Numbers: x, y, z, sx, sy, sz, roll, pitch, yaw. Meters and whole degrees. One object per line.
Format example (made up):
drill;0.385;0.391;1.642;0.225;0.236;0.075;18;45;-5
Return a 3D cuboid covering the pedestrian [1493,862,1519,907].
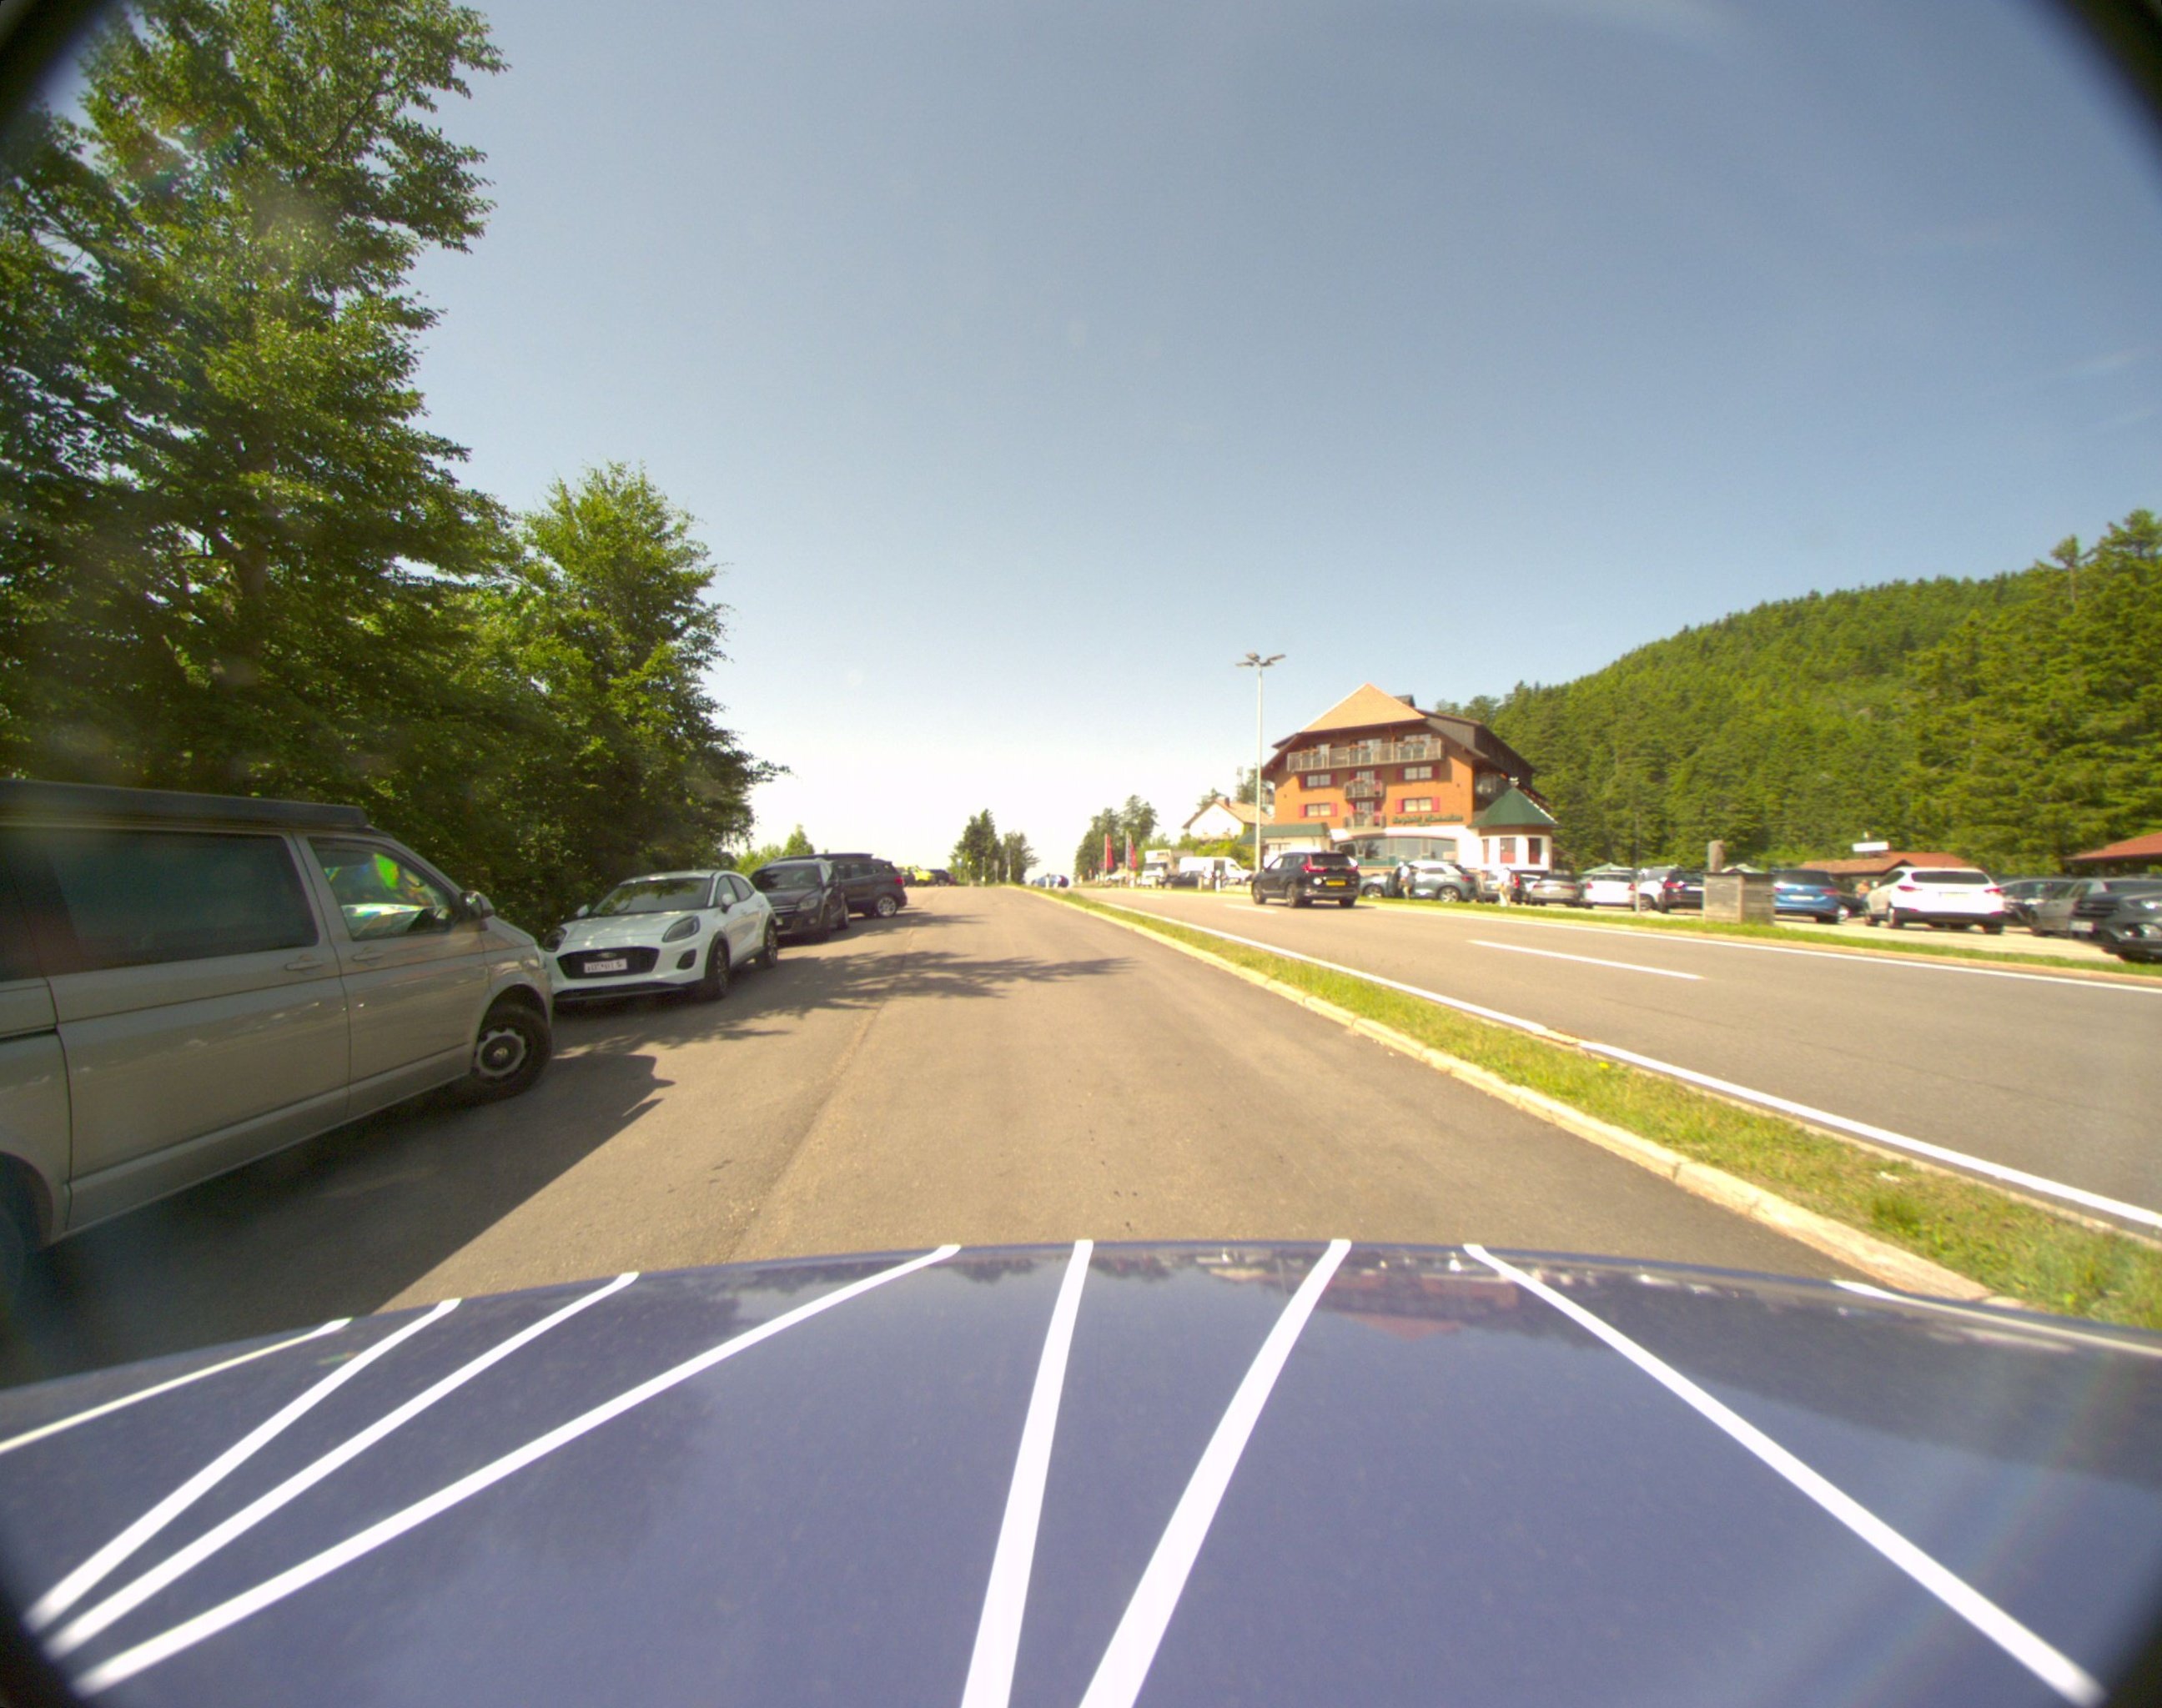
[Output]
pedestrian;15.696;1.111;28.089;0.744;1.615;0.684;0;0;21

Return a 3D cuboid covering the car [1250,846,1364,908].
car;6.642;0.631;22.806;1.722;1.672;4.127;0;0;-8

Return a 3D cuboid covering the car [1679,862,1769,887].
car;46.818;1.458;55.494;4.832;1.705;1.925;0;0;35

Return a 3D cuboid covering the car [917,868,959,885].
car;-14.308;2.258;76.136;3.912;1.605;1.875;0;0;-6

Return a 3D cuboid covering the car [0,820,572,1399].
car;-4.657;0.909;3.411;1.862;1.924;4.607;-4;0;-5

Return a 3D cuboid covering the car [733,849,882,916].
car;-9.285;0.919;25.868;4.466;1.914;1.872;-3;0;-28

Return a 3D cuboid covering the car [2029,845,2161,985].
car;14.759;0.742;8.710;4.539;1.646;1.726;0;0;33

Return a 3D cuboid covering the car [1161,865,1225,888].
car;8.000;1.577;54.246;4.083;1.518;1.828;0;0;30

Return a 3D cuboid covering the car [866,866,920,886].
car;-14.938;1.739;60.460;3.912;1.605;1.875;0;0;-6

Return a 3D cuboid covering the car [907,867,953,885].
car;-13.766;1.985;69.489;3.912;1.605;1.875;0;0;-6

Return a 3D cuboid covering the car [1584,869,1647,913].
car;20.413;1.352;28.977;1.819;1.504;4.104;1;0;37

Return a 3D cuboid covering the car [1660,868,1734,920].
car;21.080;1.299;26.132;1.819;1.619;4.104;1;0;37

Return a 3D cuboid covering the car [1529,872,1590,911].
car;20.460;1.535;32.422;1.819;1.504;4.104;1;0;37

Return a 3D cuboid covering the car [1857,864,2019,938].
car;22.193;1.125;19.885;1.915;1.705;4.104;1;0;35

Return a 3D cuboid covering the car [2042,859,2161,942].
car;23.526;0.976;15.747;4.083;1.705;1.925;0;0;35

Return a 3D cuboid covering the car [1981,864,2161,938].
car;25.776;1.142;18.841;4.083;1.705;1.925;0;0;35

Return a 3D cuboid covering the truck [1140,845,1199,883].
truck;9.516;1.110;80.994;2.877;3.798;9.035;-2;-1;29

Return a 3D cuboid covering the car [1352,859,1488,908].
car;12.357;1.036;27.772;4.259;1.619;1.828;0;0;34

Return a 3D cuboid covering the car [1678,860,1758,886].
car;43.955;1.308;52.518;4.083;1.705;1.925;0;0;35

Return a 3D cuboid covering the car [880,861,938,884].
car;-14.275;1.529;63.300;4.459;1.914;1.875;0;0;-6

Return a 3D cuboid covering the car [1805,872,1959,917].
car;33.563;1.639;32.014;4.083;1.705;1.924;0;0;32

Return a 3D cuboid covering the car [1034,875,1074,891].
car;-2.845;3.004;79.731;3.902;1.605;1.880;0;0;35

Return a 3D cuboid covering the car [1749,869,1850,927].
car;22.260;1.287;23.692;1.819;1.619;4.104;1;0;37

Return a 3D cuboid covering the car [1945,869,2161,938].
car;27.250;1.299;20.988;4.083;1.705;1.924;0;0;32

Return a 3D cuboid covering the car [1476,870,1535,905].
car;19.646;1.497;35.110;1.819;1.504;4.104;1;0;37

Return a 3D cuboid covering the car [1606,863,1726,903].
car;25.771;1.227;33.661;4.083;1.619;1.828;0;0;34

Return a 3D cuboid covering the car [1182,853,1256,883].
car;13.481;1.353;74.169;6.954;2.774;2.669;0;0;10

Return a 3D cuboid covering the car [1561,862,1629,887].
car;37.723;1.499;55.810;4.083;1.705;1.925;0;0;35

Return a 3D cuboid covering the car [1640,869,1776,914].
car;25.137;1.450;30.674;4.083;1.619;1.828;0;0;34

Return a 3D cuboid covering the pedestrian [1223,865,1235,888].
pedestrian;11.948;1.823;61.395;0.752;1.853;0.672;0;0;-22

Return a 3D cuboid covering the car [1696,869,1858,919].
car;25.021;1.380;27.544;4.083;1.619;1.828;0;0;34

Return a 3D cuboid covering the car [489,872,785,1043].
car;-5.250;1.079;9.700;1.876;1.538;3.997;-3;0;-9

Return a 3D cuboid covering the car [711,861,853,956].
car;-6.055;1.006;15.891;1.876;1.609;3.997;-3;0;-9

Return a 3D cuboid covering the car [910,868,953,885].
car;-14.156;2.108;72.068;3.912;1.605;1.875;0;0;-6

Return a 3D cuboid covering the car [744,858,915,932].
car;-6.704;1.032;20.312;4.005;1.609;1.872;-3;0;-28

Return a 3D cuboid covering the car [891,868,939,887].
car;-14.497;2.041;66.516;3.912;1.605;1.875;0;0;-6
